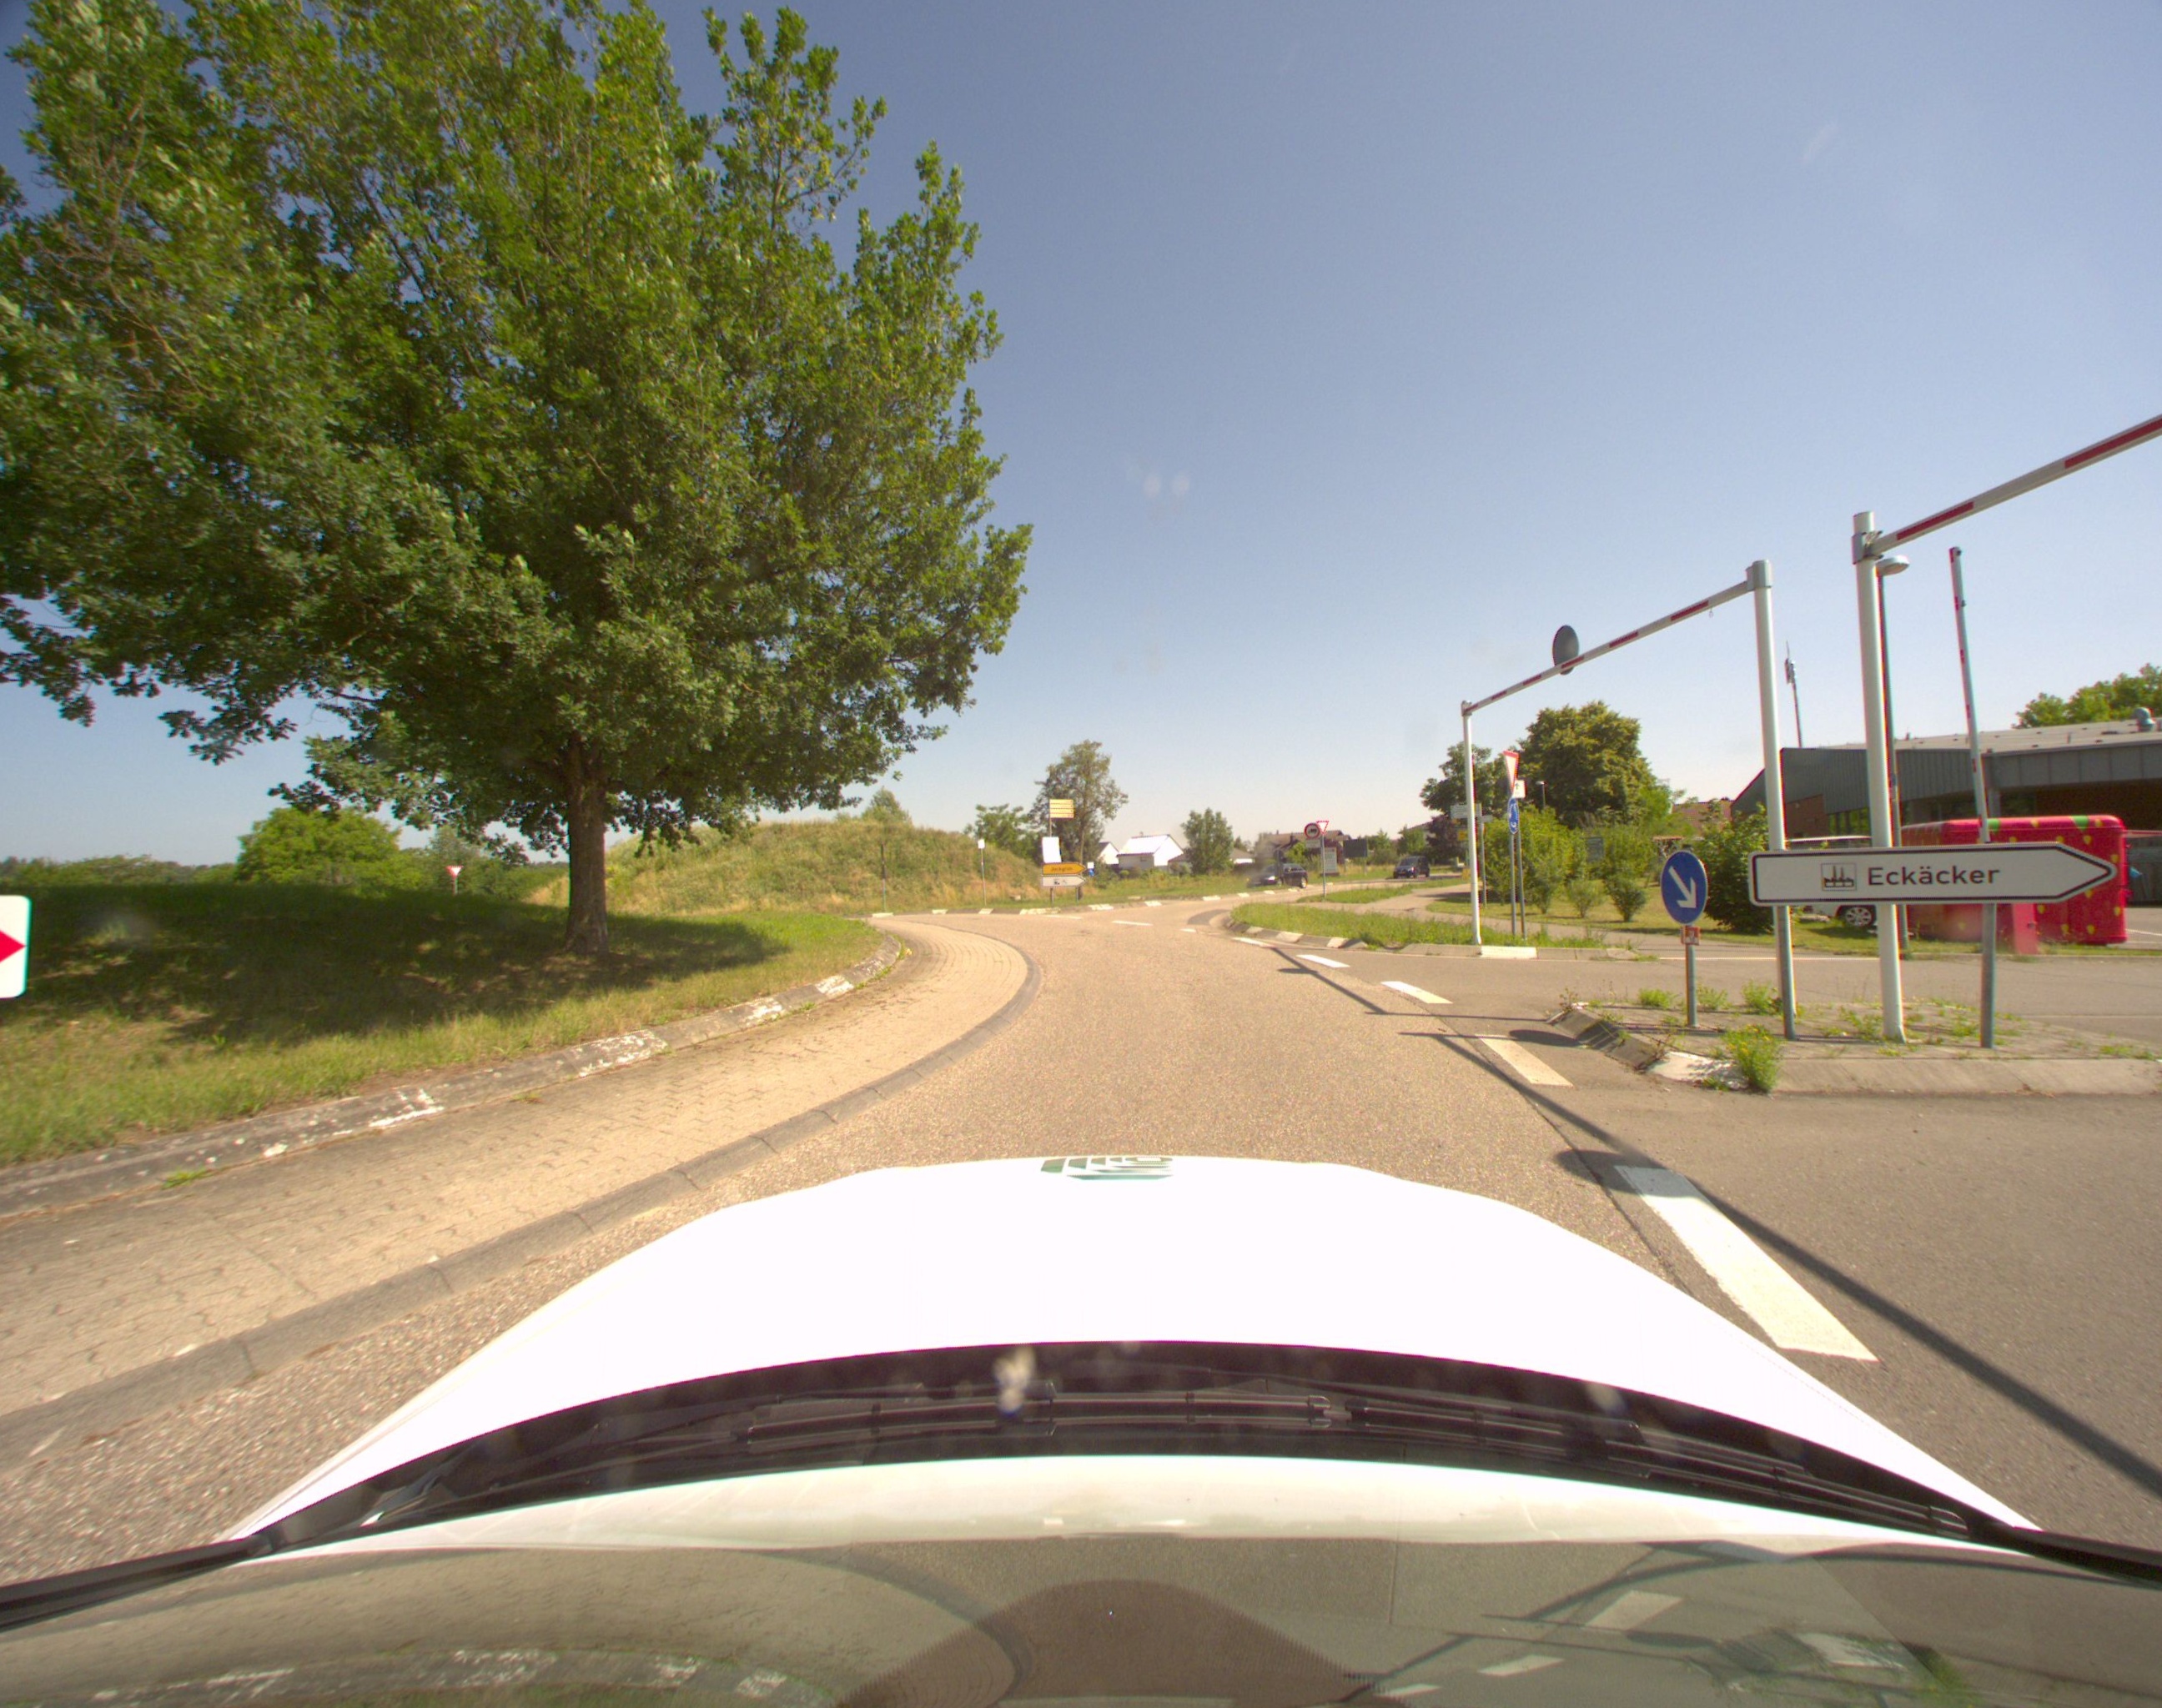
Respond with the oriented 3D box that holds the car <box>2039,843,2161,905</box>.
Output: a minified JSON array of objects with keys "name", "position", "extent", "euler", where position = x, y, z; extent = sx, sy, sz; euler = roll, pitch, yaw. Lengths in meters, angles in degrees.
[{"name":"car","position":[28.074,0.565,22.479],"extent":[1.805,1.636,1.138],"euler":[-2,-2,33]}]

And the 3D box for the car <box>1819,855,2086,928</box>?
[{"name":"car","position":[18.930,0.784,17.967],"extent":[3.723,1.446,1.737],"euler":[-1,-1,35]}]

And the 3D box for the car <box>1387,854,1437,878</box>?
[{"name":"car","position":[25.430,0.902,62.413],"extent":[1.793,1.641,4.683],"euler":[-8,-6,44]}]

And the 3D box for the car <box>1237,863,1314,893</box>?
[{"name":"car","position":[10.962,1.322,45.704],"extent":[1.899,1.434,4.942],"euler":[-7,-5,43]}]
